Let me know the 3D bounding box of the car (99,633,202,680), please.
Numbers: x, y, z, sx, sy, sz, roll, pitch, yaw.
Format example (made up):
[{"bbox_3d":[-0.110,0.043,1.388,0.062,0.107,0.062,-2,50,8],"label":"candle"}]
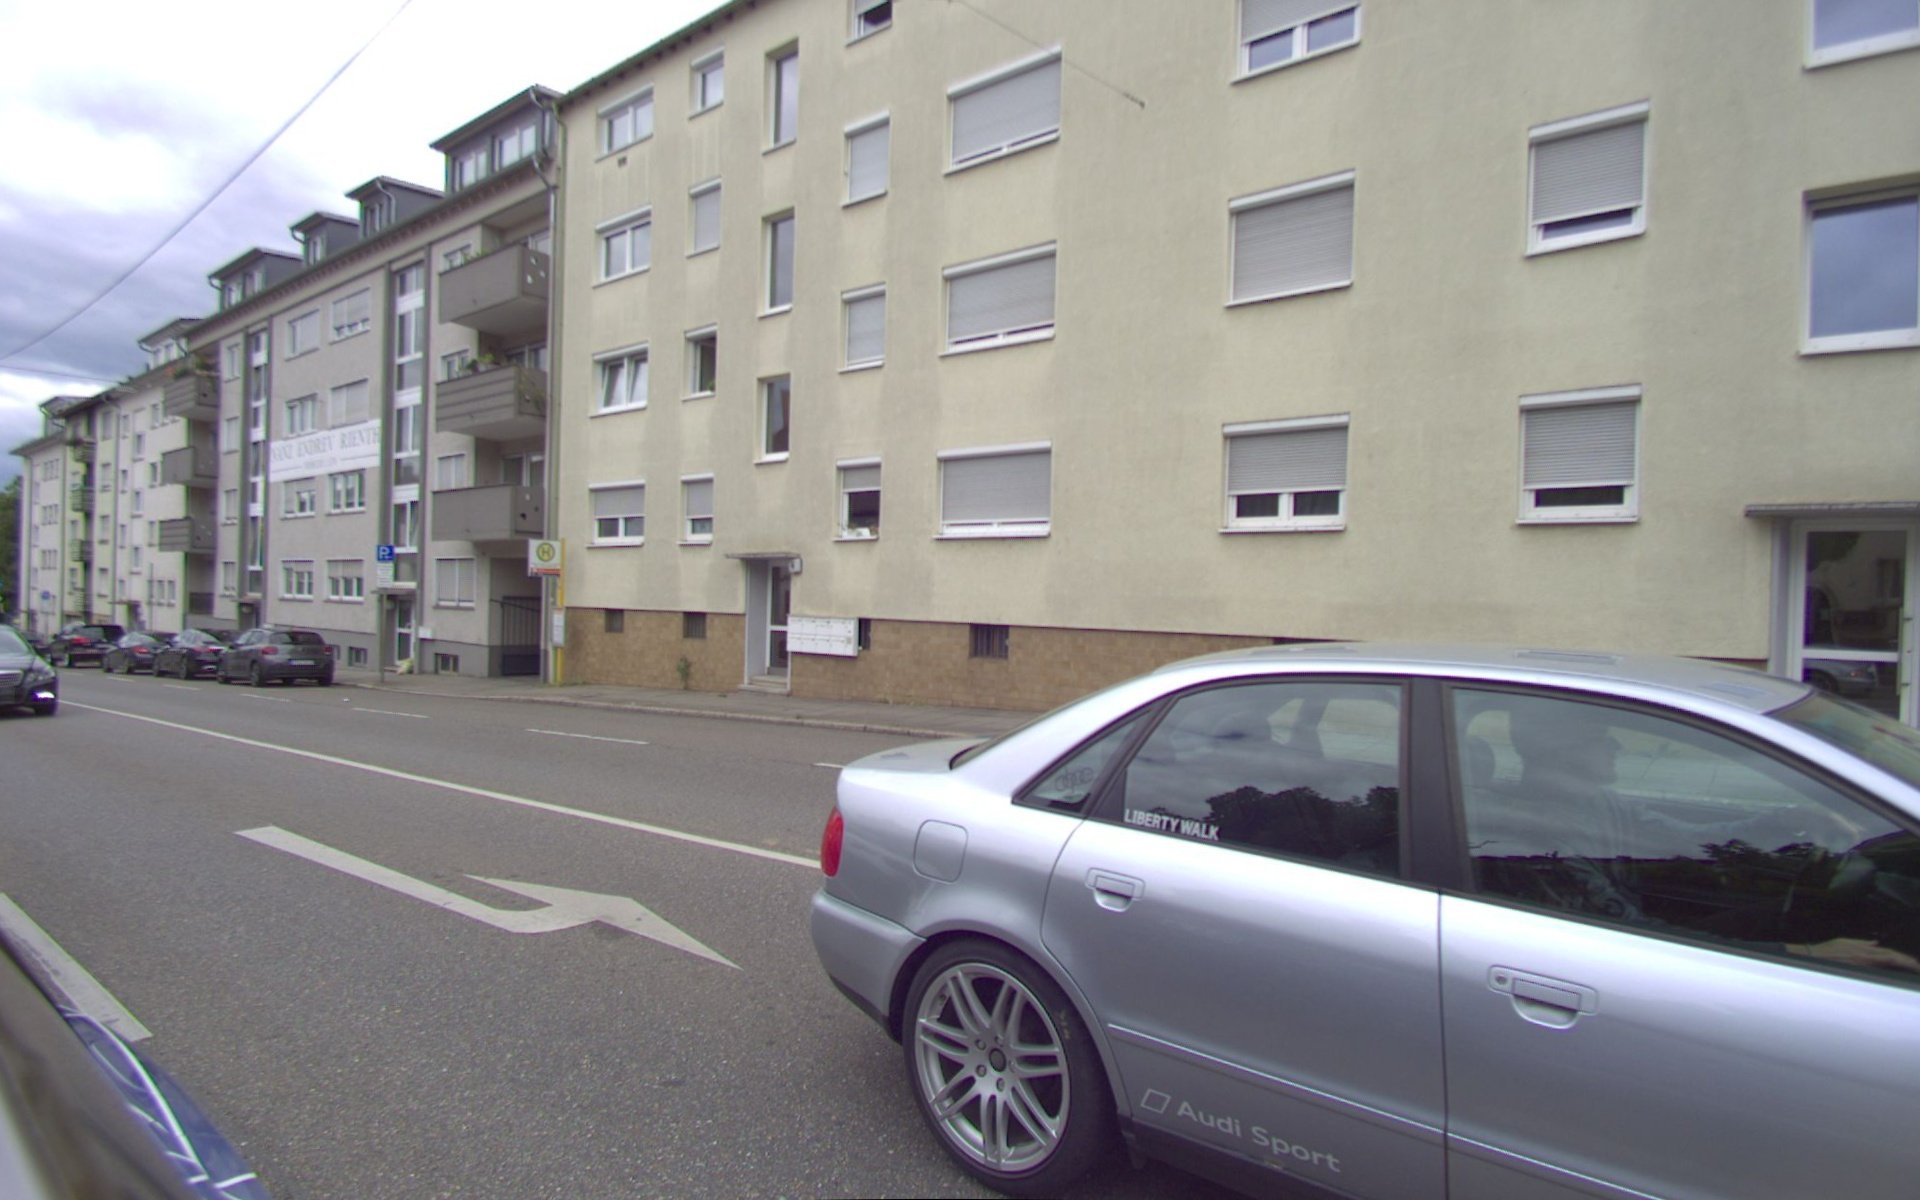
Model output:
[{"bbox_3d":[-26.404,1.789,32.957,4.303,1.416,1.750,-1,-2,39],"label":"car"}]

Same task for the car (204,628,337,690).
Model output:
[{"bbox_3d":[-17.813,1.500,26.104,3.797,1.447,1.751,-1,-4,39],"label":"car"}]

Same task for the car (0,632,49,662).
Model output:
[{"bbox_3d":[-46.416,2.270,49.721,4.305,1.391,1.851,-1,-4,41],"label":"car"}]

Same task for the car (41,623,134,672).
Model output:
[{"bbox_3d":[-33.546,1.794,38.867,4.302,1.767,1.852,-1,-4,39],"label":"car"}]

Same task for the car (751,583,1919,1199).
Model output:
[{"bbox_3d":[1.520,0.683,2.289,4.174,1.383,1.679,-2,-2,40],"label":"car"}]

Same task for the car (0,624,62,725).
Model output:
[{"bbox_3d":[-15.974,1.135,16.095,4.439,1.465,1.731,-1,-1,38],"label":"car"}]
